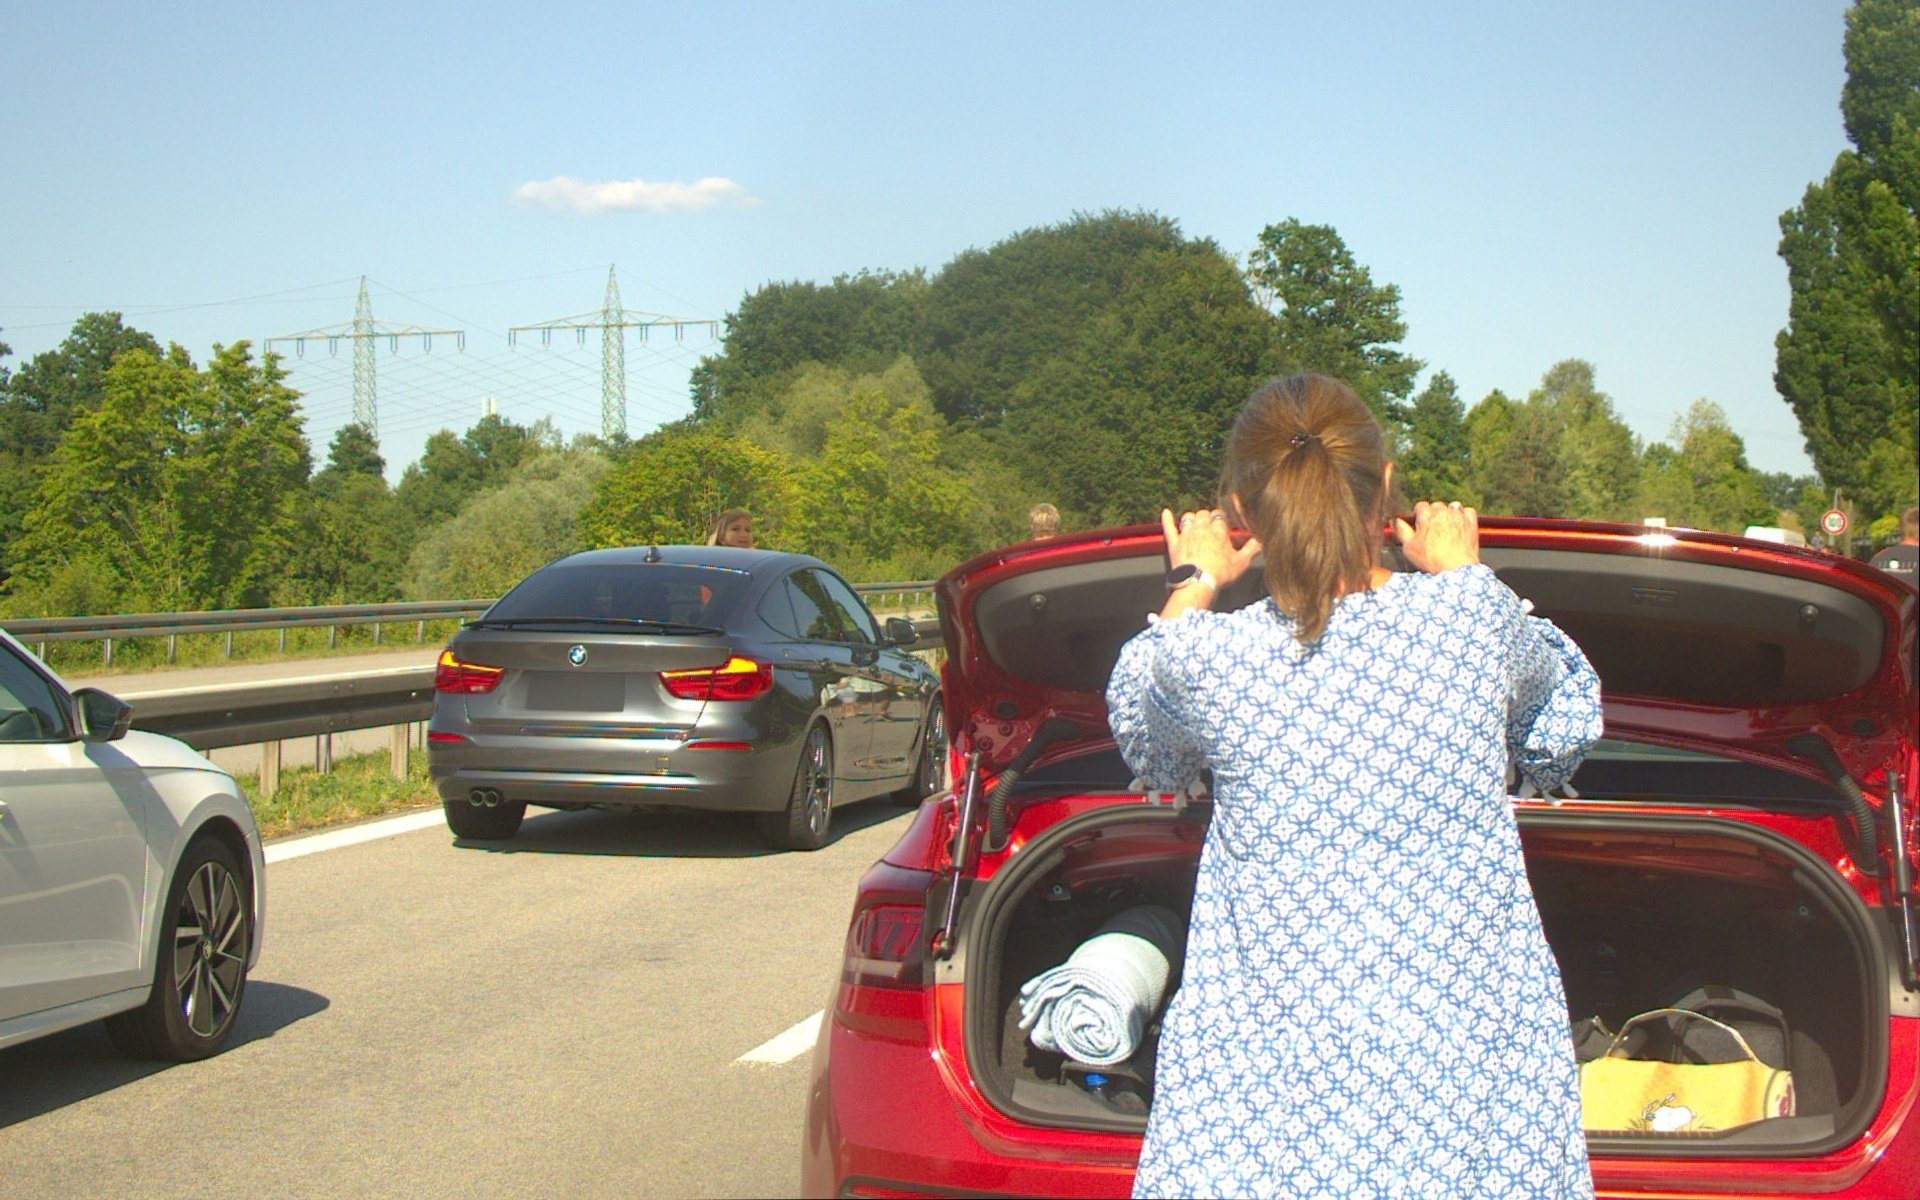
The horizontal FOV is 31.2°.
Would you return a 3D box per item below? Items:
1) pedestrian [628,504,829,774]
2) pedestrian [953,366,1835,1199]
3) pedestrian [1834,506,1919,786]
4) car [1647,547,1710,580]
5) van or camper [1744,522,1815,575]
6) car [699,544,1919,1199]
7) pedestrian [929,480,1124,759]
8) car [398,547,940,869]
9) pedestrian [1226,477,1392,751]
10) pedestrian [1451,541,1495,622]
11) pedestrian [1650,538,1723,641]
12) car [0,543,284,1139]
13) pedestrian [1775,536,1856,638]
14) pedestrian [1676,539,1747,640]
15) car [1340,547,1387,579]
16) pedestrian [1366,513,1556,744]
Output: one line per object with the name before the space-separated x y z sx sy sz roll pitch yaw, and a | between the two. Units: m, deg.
pedestrian | -1.537 0.248 23.048 1.041 1.757 1.118 0 1 13
pedestrian | 0.480 0.615 3.680 0.839 1.677 0.743 0 1 11
pedestrian | 6.057 0.290 22.037 0.812 1.753 0.827 1 1 16
car | 32.733 -1.664 156.537 1.735 1.482 4.204 1 1 27
van or camper | 36.731 -2.282 154.012 1.997 2.308 4.463 1 1 28
car | 0.908 0.655 6.234 1.733 1.482 4.208 1 1 11
pedestrian | 0.472 0.124 23.768 1.066 1.876 1.092 0 1 18
car | -1.354 0.456 17.820 1.695 1.421 4.332 1 1 11
pedestrian | 2.492 0.091 24.714 1.106 1.906 1.257 -1 1 3
pedestrian | 10.814 -0.396 72.514 0.792 1.683 0.791 1 1 16
pedestrian | 12.182 -0.183 57.618 1.114 1.683 0.972 1 1 16
car | -3.215 0.584 8.210 1.695 1.436 4.208 1 1 11
pedestrian | 14.363 -0.216 57.712 0.998 1.683 1.008 1 1 34
pedestrian | 12.796 -0.182 58.507 1.057 1.683 1.016 1 1 17
car | 18.532 -1.726 157.644 1.695 1.421 4.303 1 1 13
pedestrian | 3.954 0.215 27.208 1.087 1.782 1.108 1 1 -17
